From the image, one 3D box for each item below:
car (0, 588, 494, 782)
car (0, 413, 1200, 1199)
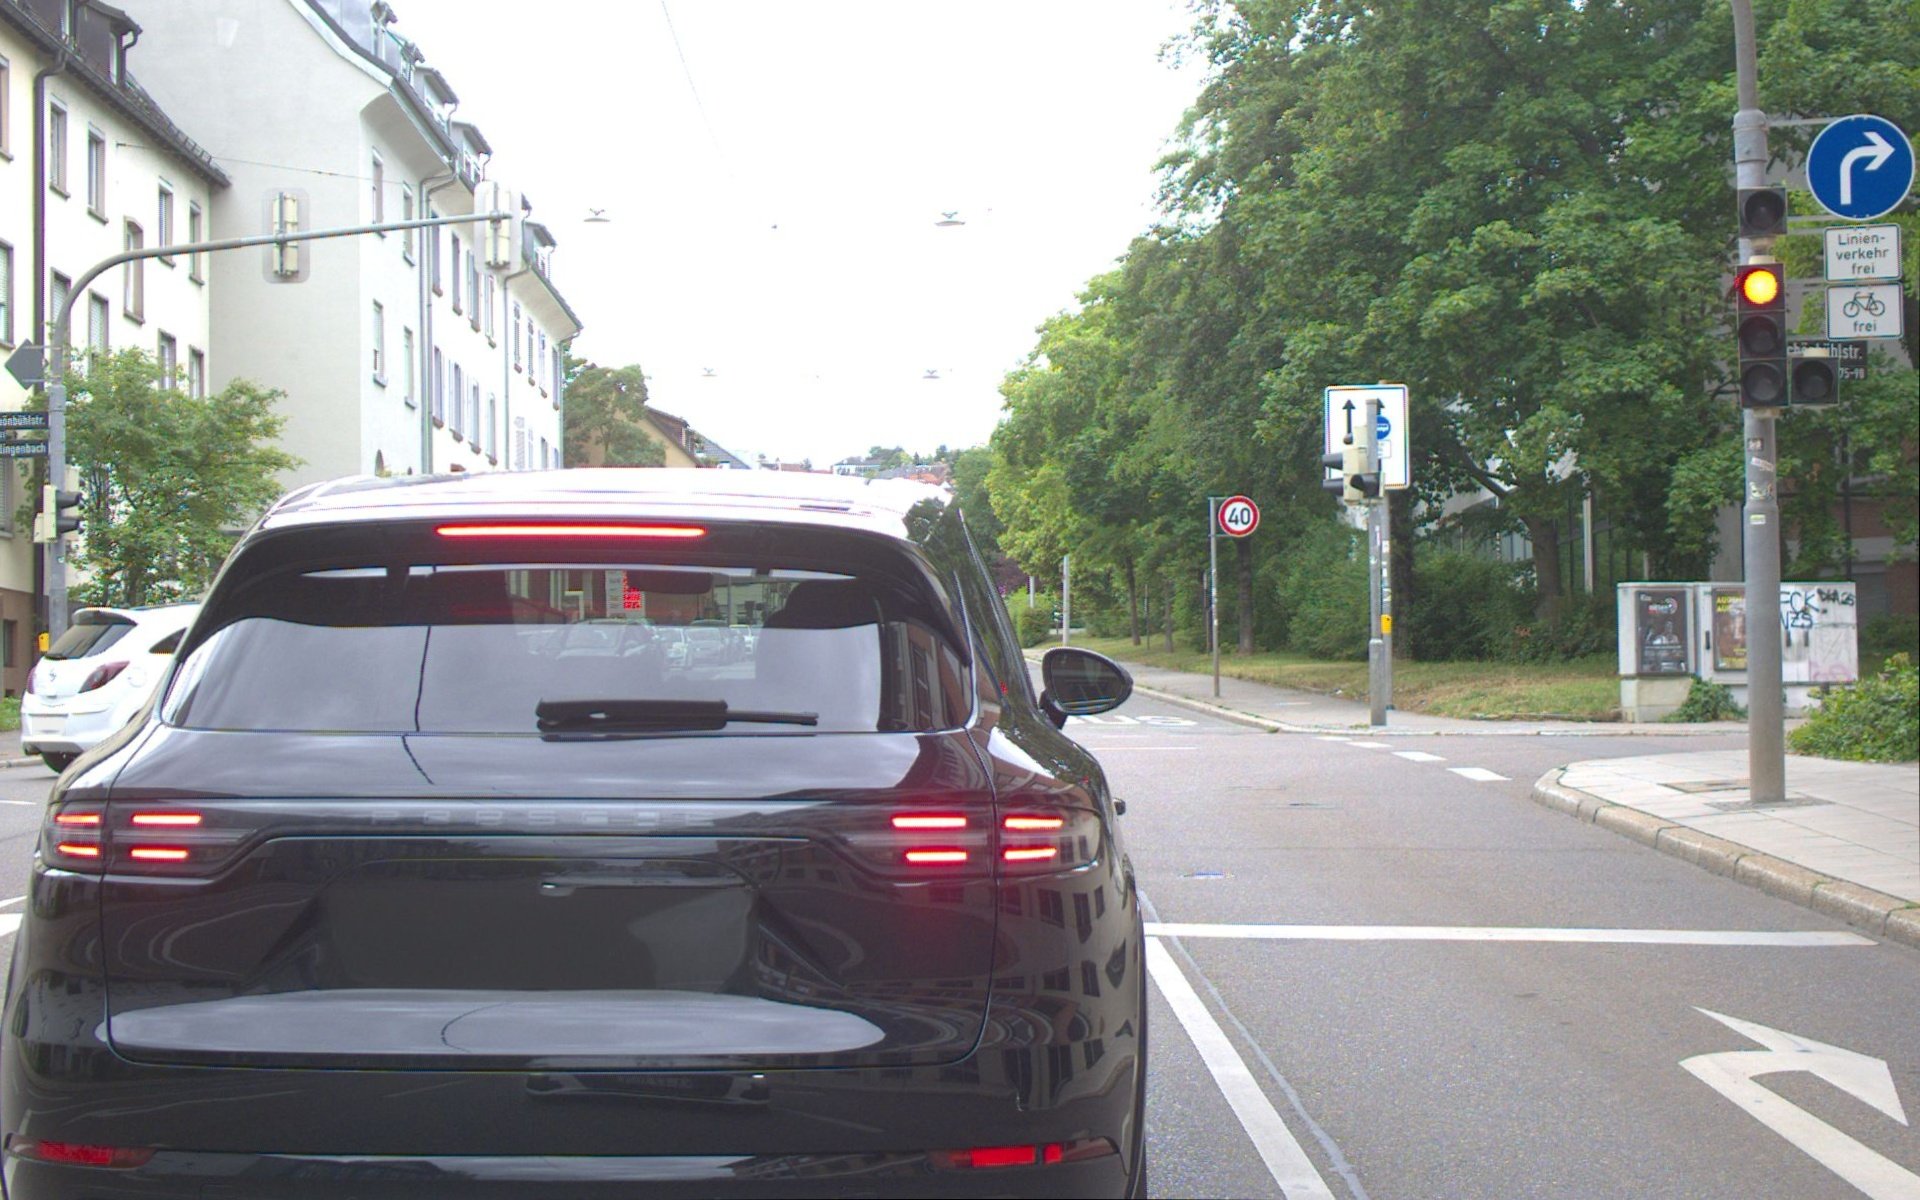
[{"bbox_3d":[-6.137,0.692,29.564,3.877,1.547,1.693,0,1,-38],"label":"car"},{"bbox_3d":[-0.670,0.556,7.164,1.993,1.691,4.000,1,1,-1],"label":"car"}]
